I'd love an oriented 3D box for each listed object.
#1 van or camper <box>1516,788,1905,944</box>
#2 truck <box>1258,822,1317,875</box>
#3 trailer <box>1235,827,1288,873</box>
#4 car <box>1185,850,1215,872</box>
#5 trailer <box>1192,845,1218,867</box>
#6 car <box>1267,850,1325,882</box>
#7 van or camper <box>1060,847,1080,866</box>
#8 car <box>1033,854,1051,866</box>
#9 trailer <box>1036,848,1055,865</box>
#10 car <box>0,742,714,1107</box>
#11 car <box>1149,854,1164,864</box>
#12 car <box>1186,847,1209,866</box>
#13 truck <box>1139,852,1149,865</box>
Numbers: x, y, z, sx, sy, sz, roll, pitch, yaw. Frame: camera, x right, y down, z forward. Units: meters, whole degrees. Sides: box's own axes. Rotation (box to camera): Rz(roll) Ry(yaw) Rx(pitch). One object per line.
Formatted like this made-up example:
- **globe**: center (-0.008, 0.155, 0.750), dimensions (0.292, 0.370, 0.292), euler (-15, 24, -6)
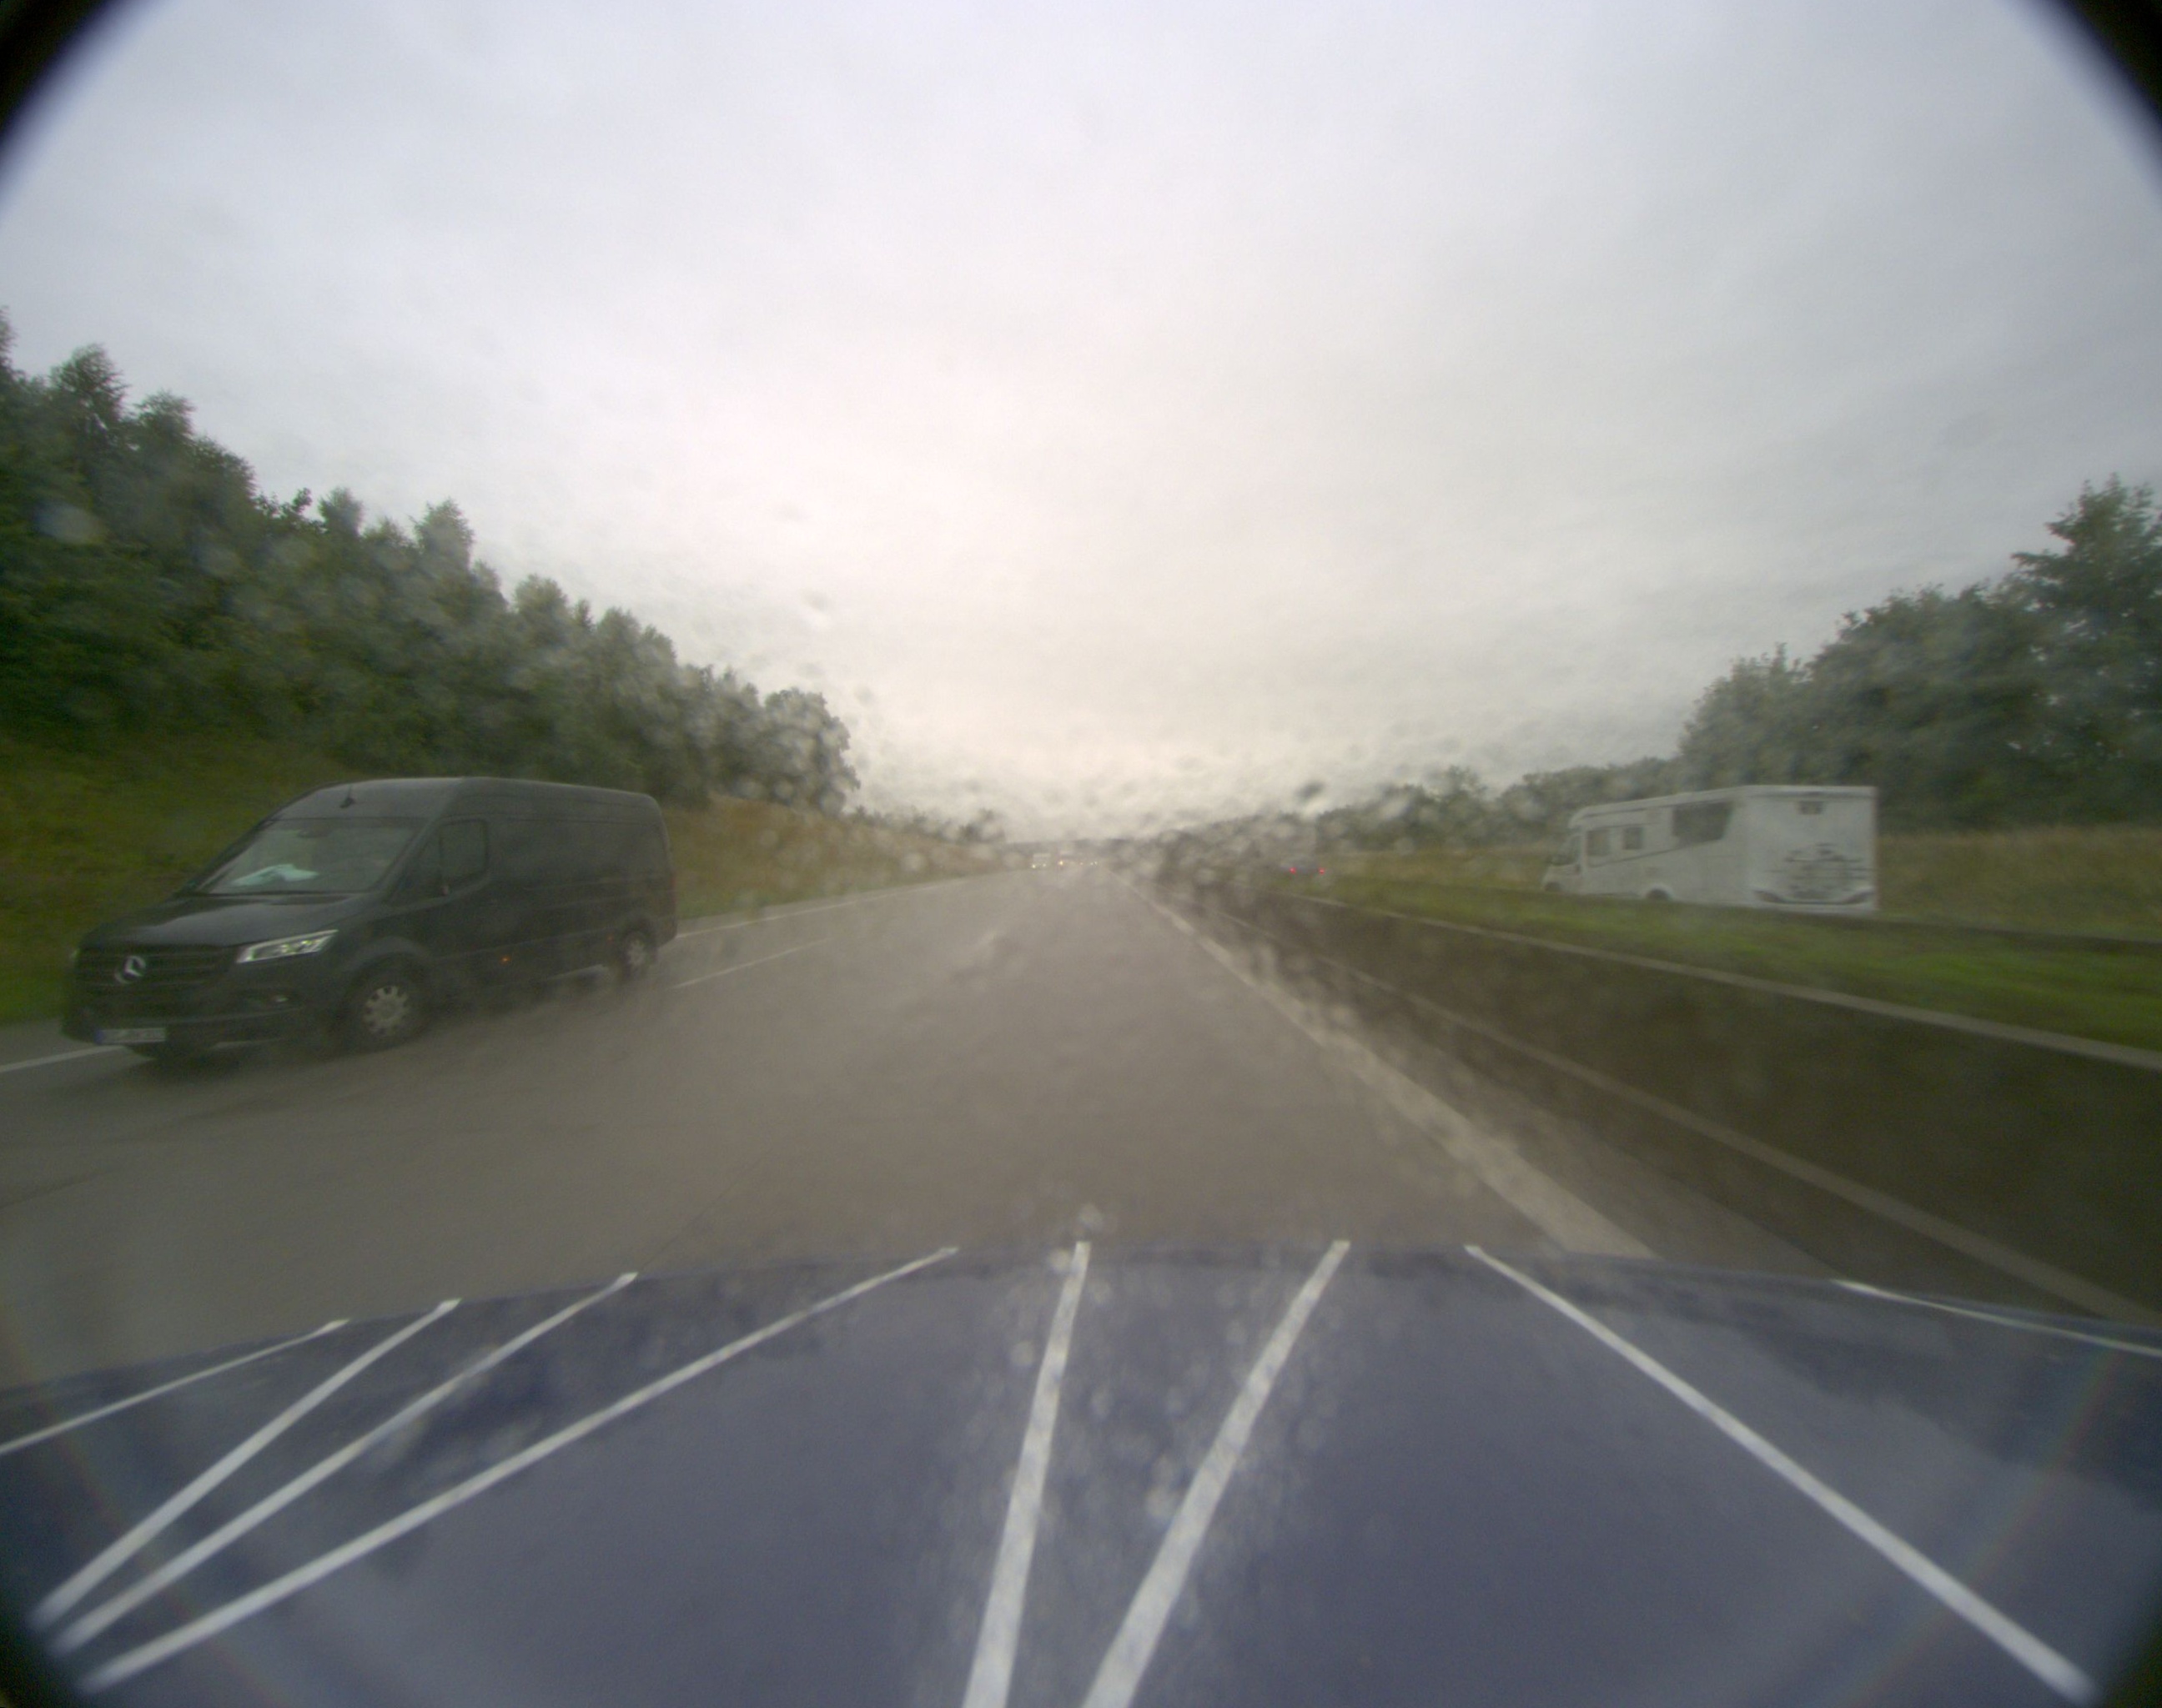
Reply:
- **van or camper**: center (13.239, 0.159, 17.187), dimensions (2.418, 2.720, 7.712), euler (0, 1, 1)
- **truck**: center (17.100, -0.455, 63.642), dimensions (2.591, 4.116, 8.592), euler (1, 0, 1)
- **trailer**: center (17.191, -0.356, 73.179), dimensions (2.593, 4.023, 10.375), euler (2, 0, 1)
- **car**: center (9.748, 0.540, 62.568), dimensions (1.765, 1.677, 4.455), euler (0, 0, 1)
- **trailer**: center (13.898, 0.178, 85.498), dimensions (2.043, 2.359, 5.833), euler (0, 0, 1)
- **car**: center (10.662, 0.580, 37.959), dimensions (1.668, 1.507, 4.465), euler (0, 0, 1)
- **van or camper**: center (-1.432, 0.294, 102.874), dimensions (2.233, 2.537, 7.950), euler (0, 0, 2)
- **car**: center (-5.331, 0.821, 105.338), dimensions (1.998, 1.575, 5.953), euler (-2, 0, 2)
- **trailer**: center (-5.130, 0.304, 111.279), dimensions (2.348, 2.445, 5.939), euler (0, 1, 2)
- **car**: center (-7.018, 0.529, 8.921), dimensions (1.945, 2.643, 6.586), euler (-2, 0, 2)
- **car**: center (11.080, 0.722, 111.441), dimensions (1.759, 1.460, 4.448), euler (-2, 0, 1)
- **car**: center (13.895, 0.242, 90.982), dimensions (1.998, 2.168, 5.207), euler (0, 0, 1)
- **truck**: center (21.220, 1.461, 256.921), dimensions (2.761, 4.182, 13.101), euler (0, 1, 1)
